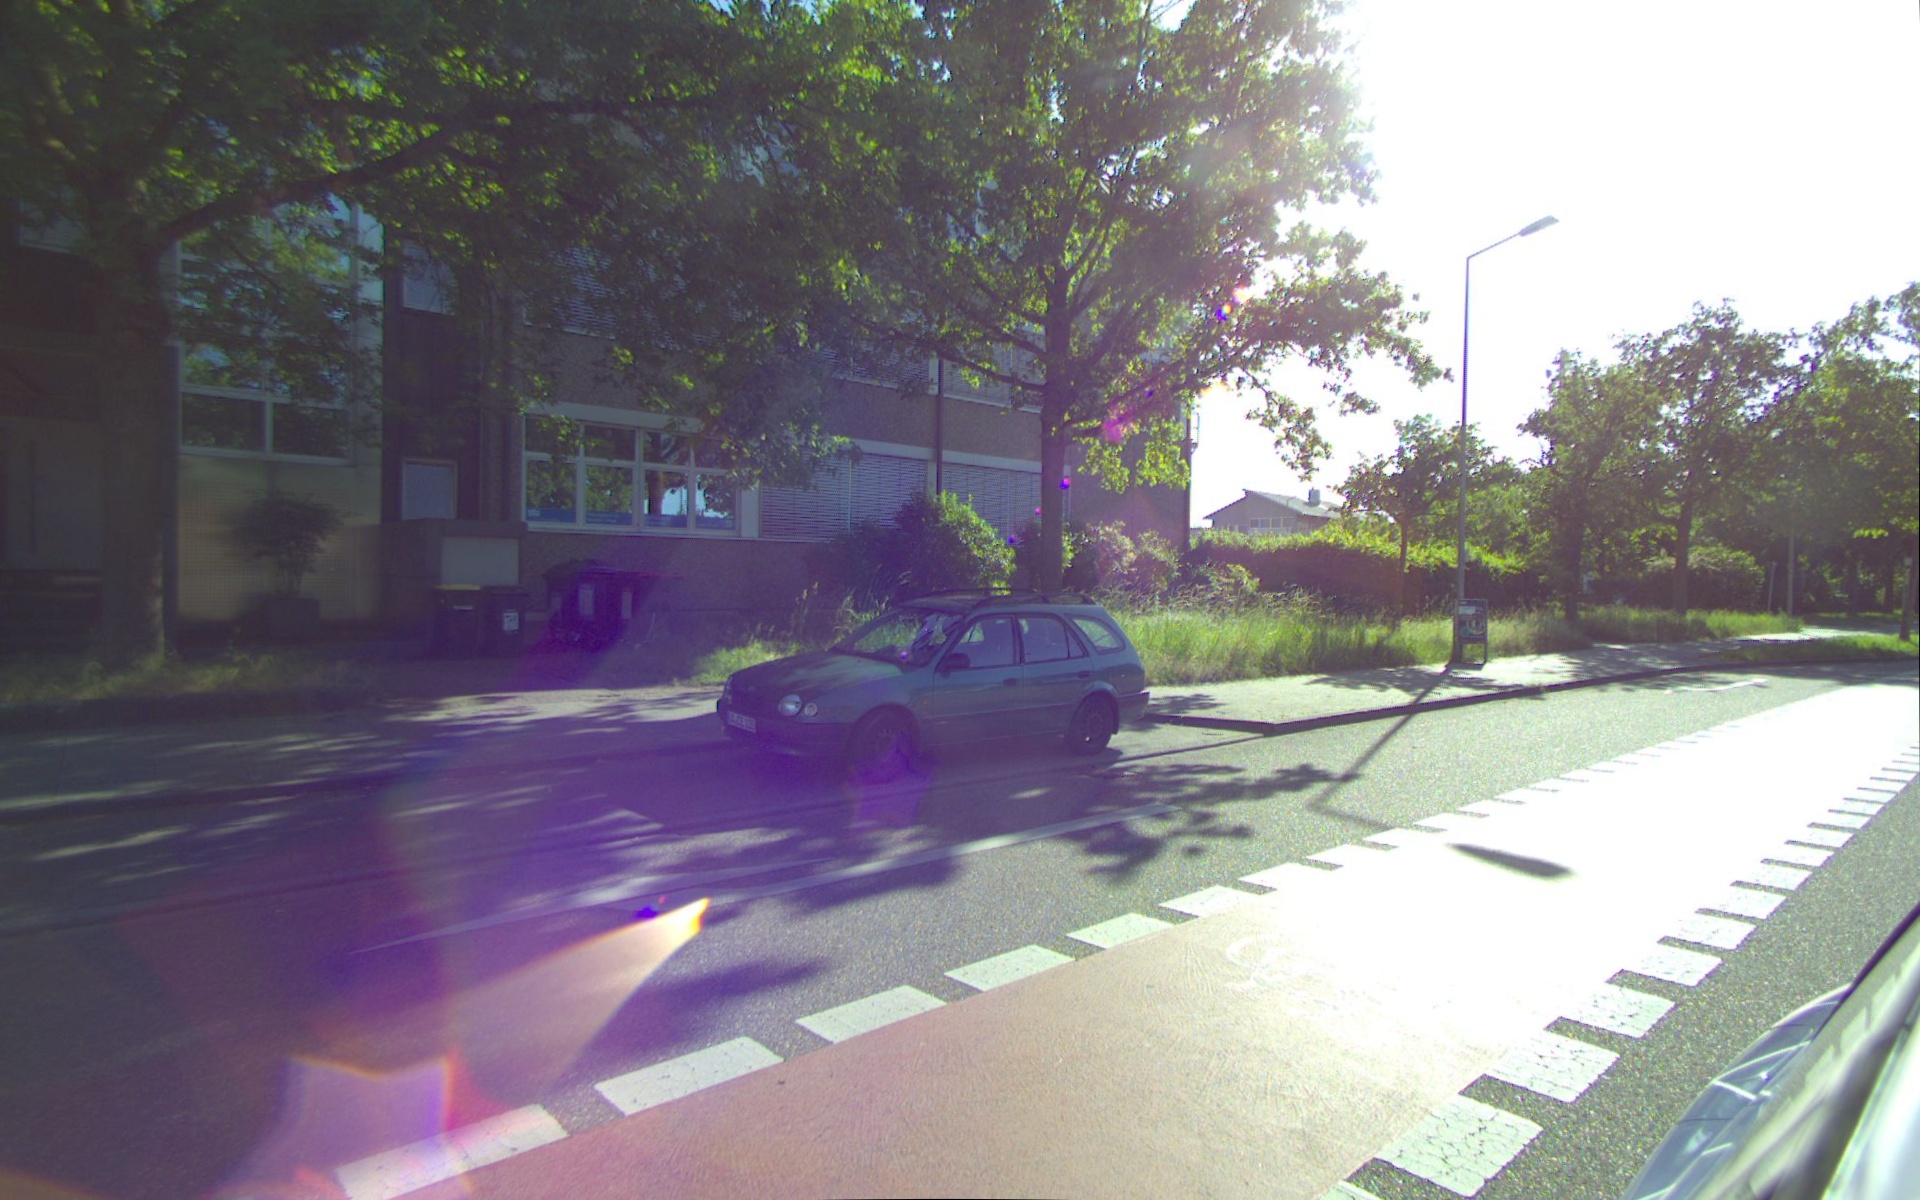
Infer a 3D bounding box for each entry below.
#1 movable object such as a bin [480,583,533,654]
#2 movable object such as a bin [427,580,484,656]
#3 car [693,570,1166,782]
[{"bbox_3d":[-6.736,0.262,15.031,0.566,1.020,0.629,-1,1,-41],"label":"movable object such as a bin"},{"bbox_3d":[-7.234,0.241,14.517,0.571,1.045,0.713,0,1,-41],"label":"movable object such as a bin"},{"bbox_3d":[-0.115,0.497,9.070,4.129,1.446,1.596,-1,3,-40],"label":"car"}]
